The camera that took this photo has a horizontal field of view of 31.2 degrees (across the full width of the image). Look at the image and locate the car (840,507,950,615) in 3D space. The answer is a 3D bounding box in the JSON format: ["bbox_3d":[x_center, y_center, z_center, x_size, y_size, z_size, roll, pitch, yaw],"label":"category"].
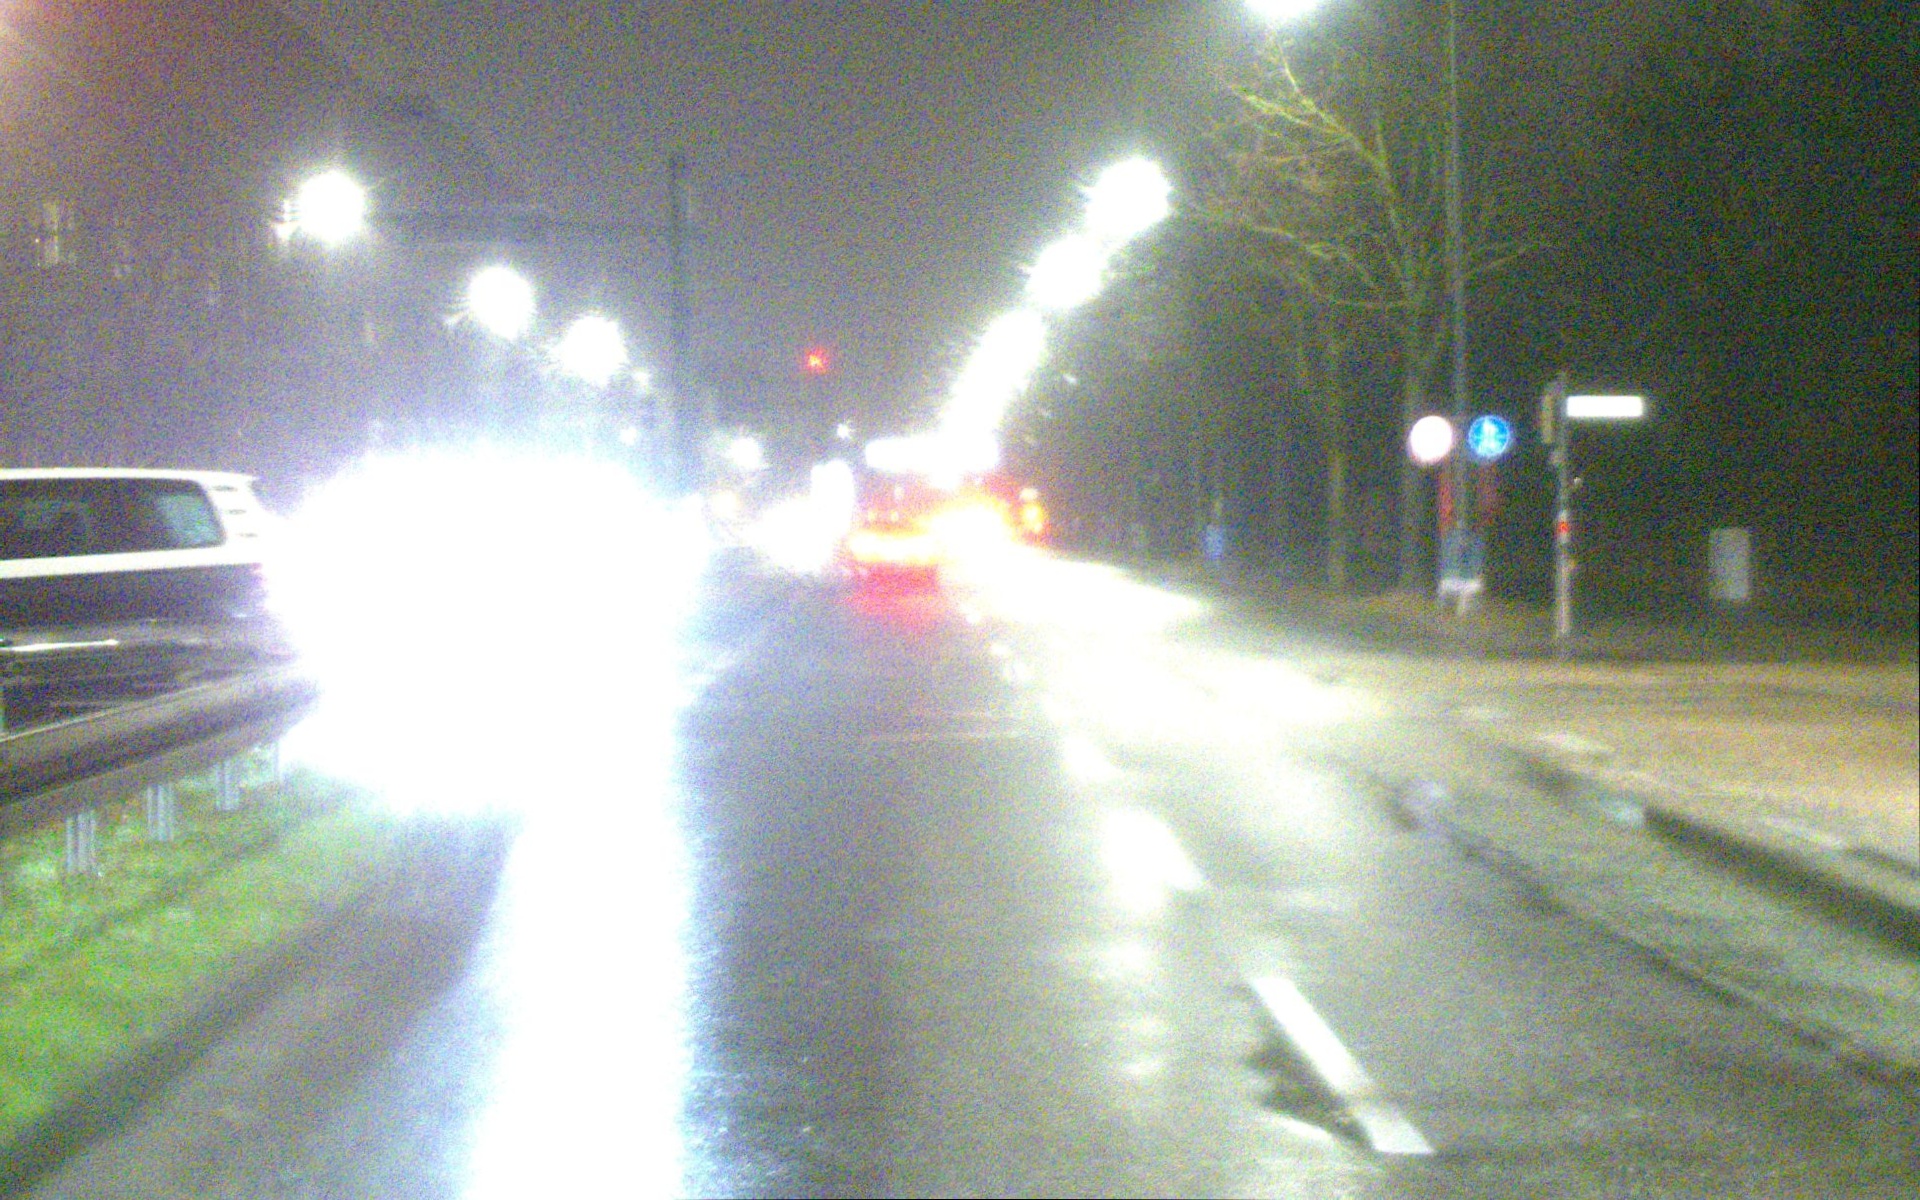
[{"bbox_3d":[-1.387,-0.804,71.083,2.135,2.137,4.929,1,1,-2],"label":"car"}]

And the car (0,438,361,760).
[{"bbox_3d":[-6.538,-0.014,21.885,5.096,1.978,1.999,-2,1,-44],"label":"car"}]

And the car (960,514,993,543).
[{"bbox_3d":[1.030,-4.499,217.787,1.993,1.753,4.000,1,1,-1],"label":"car"}]
